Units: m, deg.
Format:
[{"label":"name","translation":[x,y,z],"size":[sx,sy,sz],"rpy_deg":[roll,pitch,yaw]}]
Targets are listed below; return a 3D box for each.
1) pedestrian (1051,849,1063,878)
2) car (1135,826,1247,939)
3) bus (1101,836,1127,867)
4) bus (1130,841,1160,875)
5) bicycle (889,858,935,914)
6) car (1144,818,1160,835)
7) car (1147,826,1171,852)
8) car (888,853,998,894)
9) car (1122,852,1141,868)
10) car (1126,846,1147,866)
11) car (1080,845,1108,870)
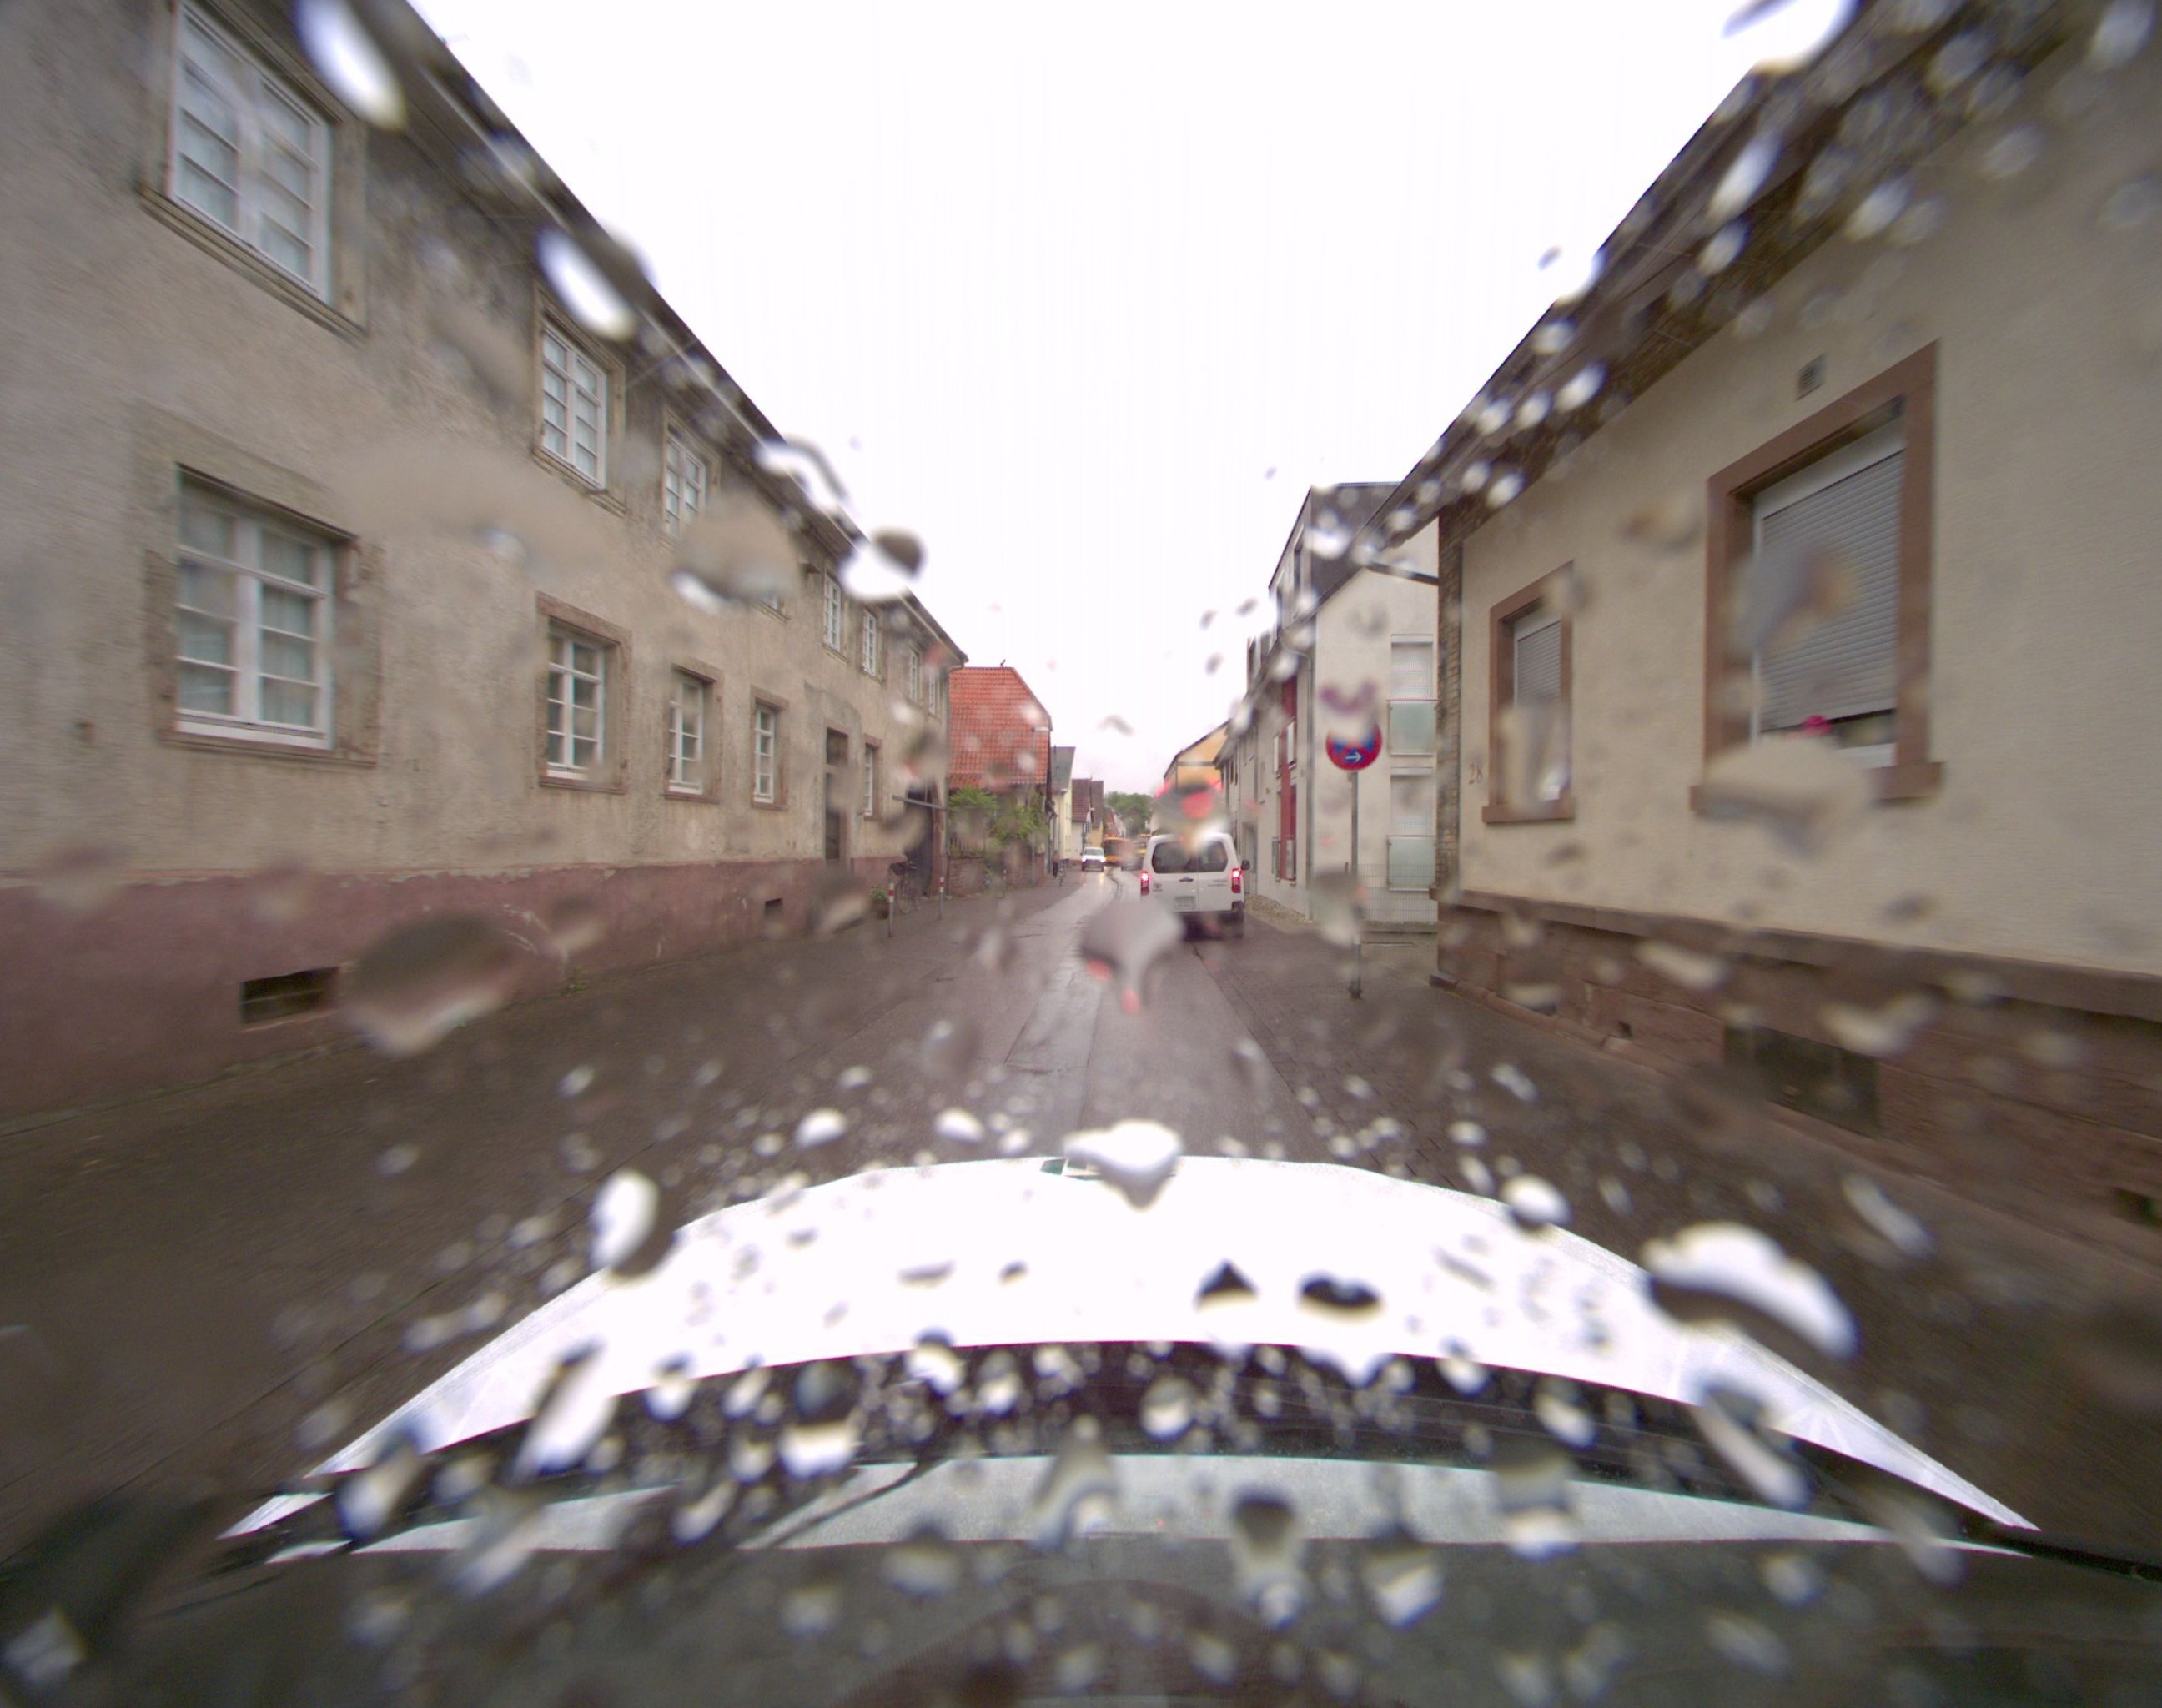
[{"label":"pedestrian","translation":[-1.318,0.520,44.420],"size":[0.567,1.530,0.568],"rpy_deg":[-1,-1,-6]},{"label":"car","translation":[2.092,0.487,15.424],"size":[1.785,1.819,4.110],"rpy_deg":[-1,-1,8]},{"label":"bus","translation":[4.007,-0.239,96.334],"size":[2.781,3.329,8.185],"rpy_deg":[2,0,3]},{"label":"bus","translation":[6.387,0.460,82.455],"size":[2.781,3.180,8.185],"rpy_deg":[2,0,3]},{"label":"bicycle","translation":[-3.796,0.703,18.412],"size":[0.480,1.180,1.838],"rpy_deg":[1,-1,5]},{"label":"car","translation":[9.383,-3.588,107.706],"size":[1.984,2.014,4.005],"rpy_deg":[2,-1,5]},{"label":"car","translation":[6.529,-1.224,68.629],"size":[1.819,2.014,3.697],"rpy_deg":[2,-1,3]},{"label":"car","translation":[-4.860,0.669,28.861],"size":[3.510,1.376,1.597],"rpy_deg":[0,0,5]},{"label":"car","translation":[4.496,0.547,71.863],"size":[1.555,1.371,3.589],"rpy_deg":[2,-1,4]},{"label":"car","translation":[4.285,0.141,63.096],"size":[1.555,1.480,3.588],"rpy_deg":[2,-1,4]},{"label":"car","translation":[1.121,0.274,68.312],"size":[1.883,1.967,4.730],"rpy_deg":[1,-1,5]}]
